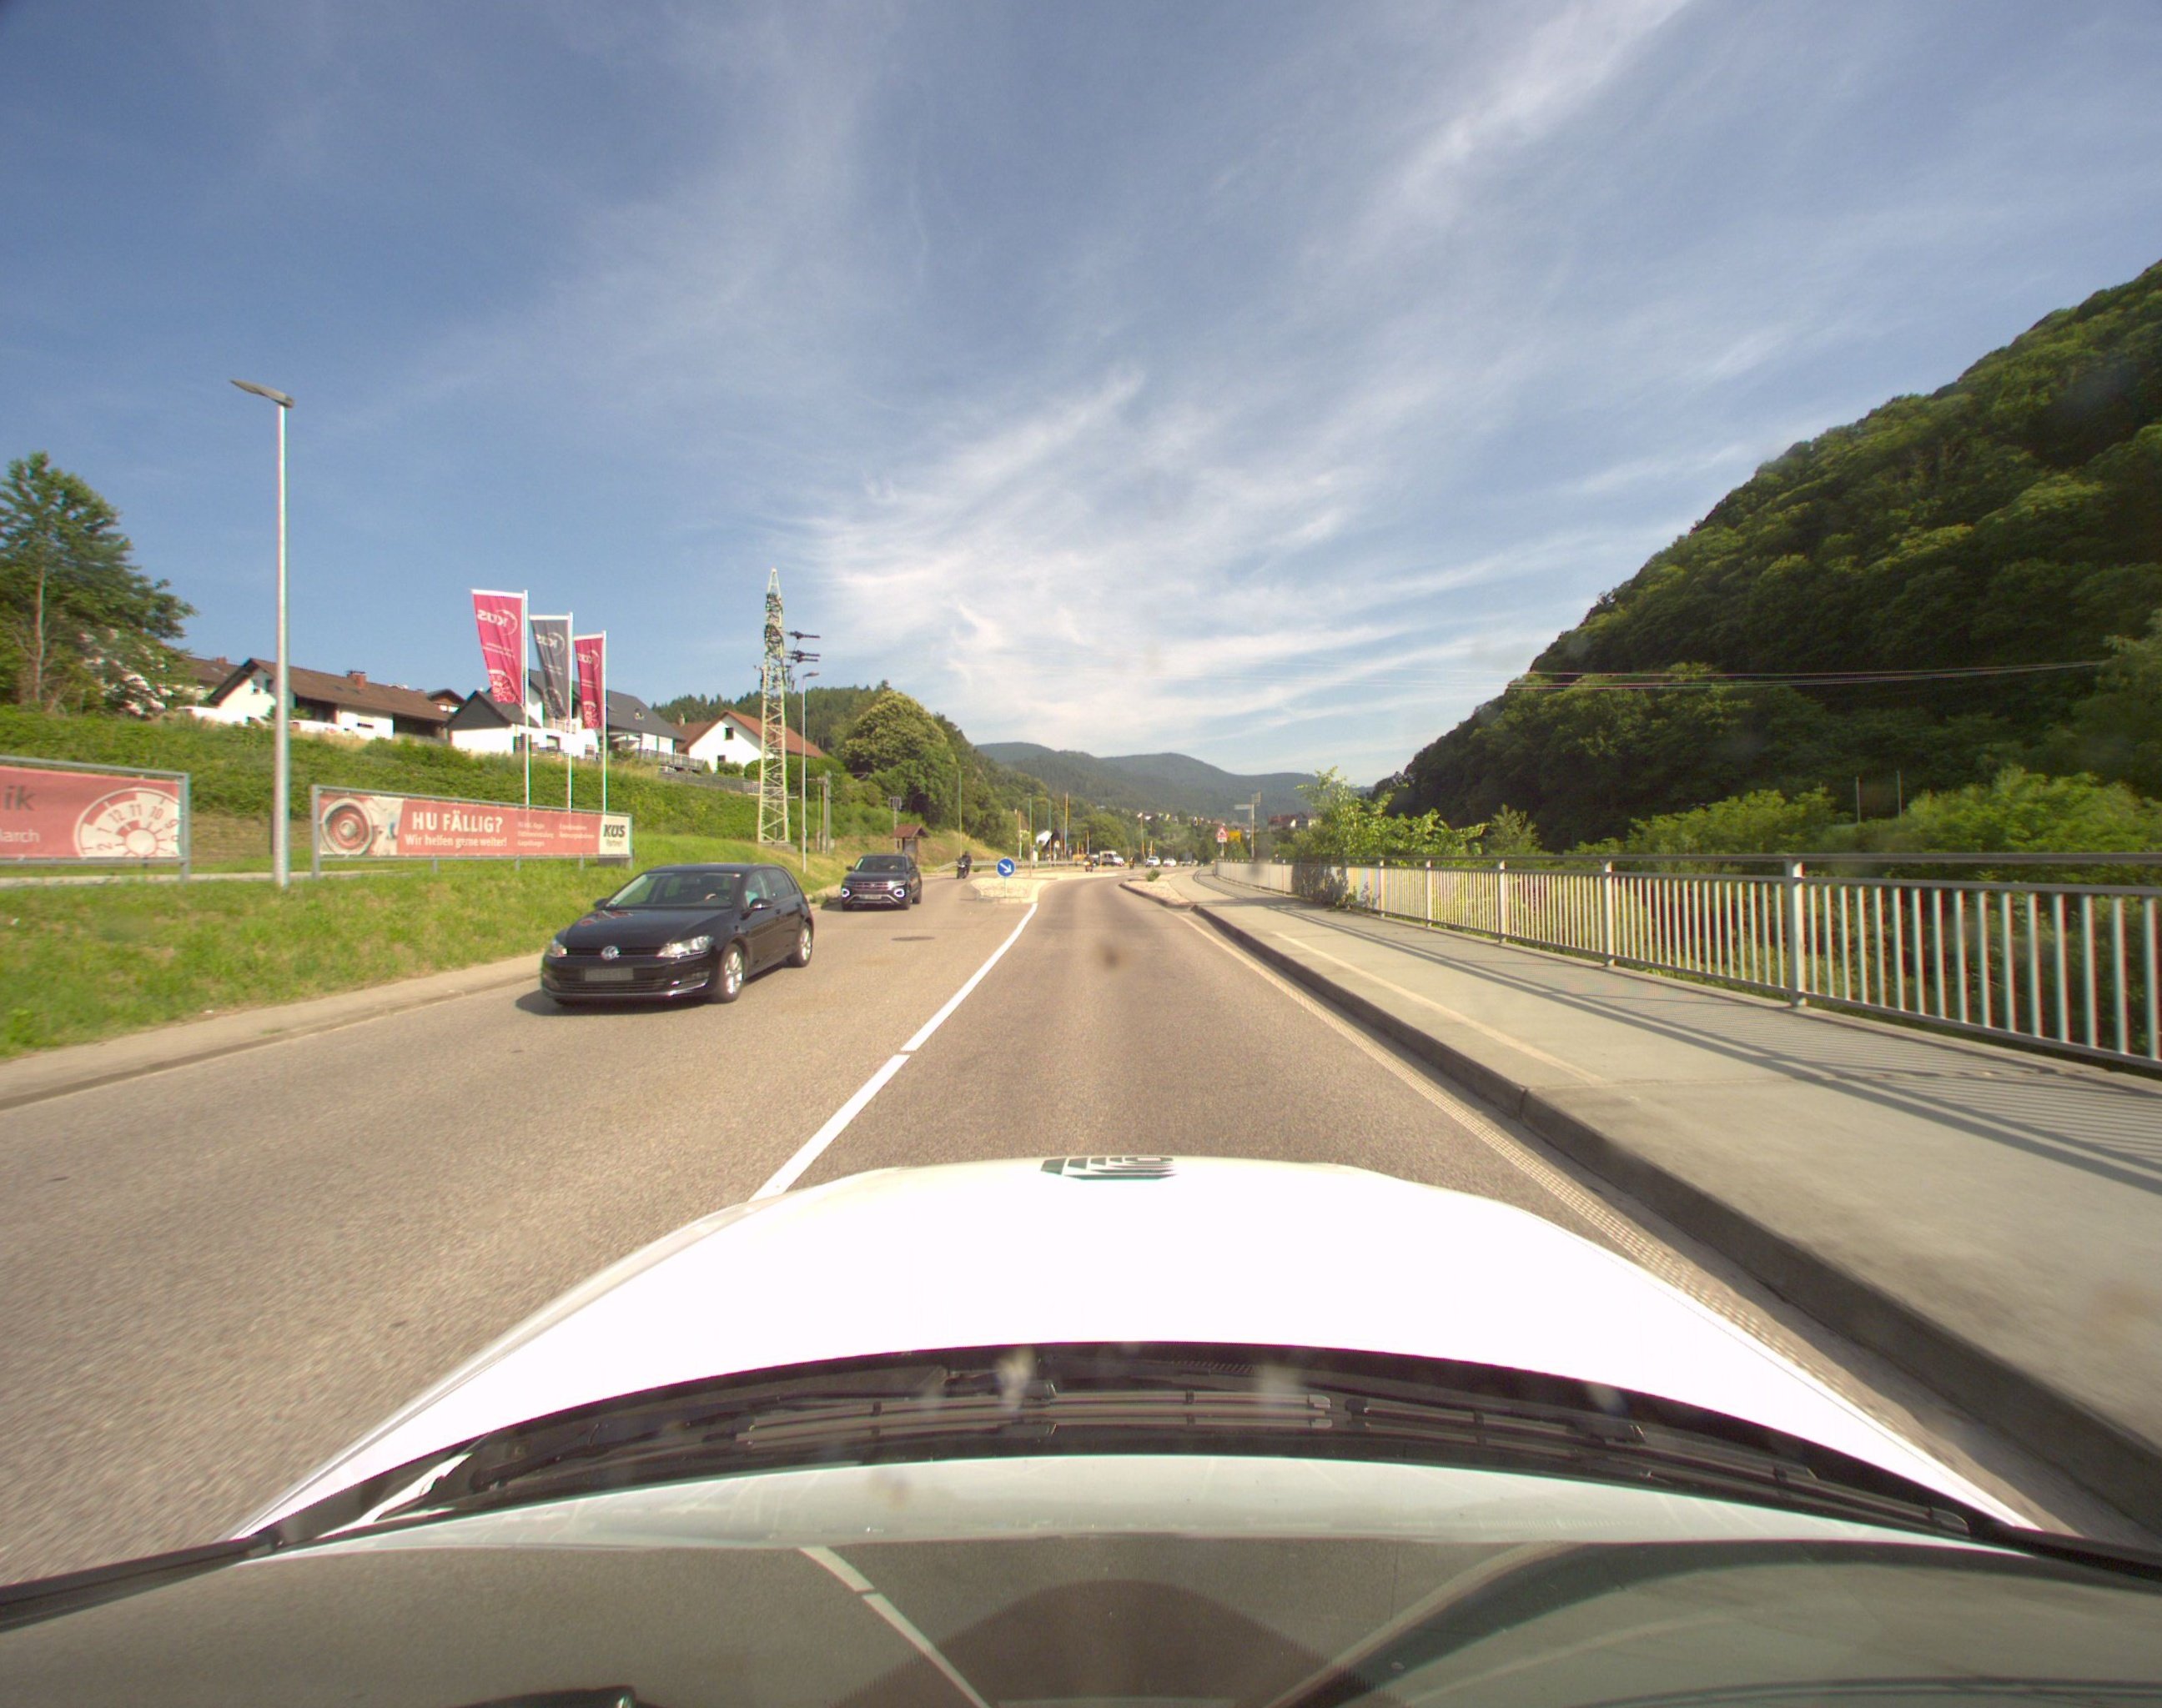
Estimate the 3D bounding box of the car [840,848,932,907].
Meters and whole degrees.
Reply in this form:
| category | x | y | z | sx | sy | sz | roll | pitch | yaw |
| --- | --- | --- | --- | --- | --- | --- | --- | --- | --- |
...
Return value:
| category | x | y | z | sx | sy | sz | roll | pitch | yaw |
| --- | --- | --- | --- | --- | --- | --- | --- | --- | --- |
| car | -5.456 | 0.587 | 23.290 | 1.771 | 1.516 | 4.268 | -1 | 0 | -3 |

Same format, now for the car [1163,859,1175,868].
| category | x | y | z | sx | sy | sz | roll | pitch | yaw |
| --- | --- | --- | --- | --- | --- | --- | --- | --- | --- |
| car | 15.114 | 1.651 | 139.833 | 1.771 | 1.400 | 4.839 | 1 | 0 | 9 |

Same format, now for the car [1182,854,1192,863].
| category | x | y | z | sx | sy | sz | roll | pitch | yaw |
| --- | --- | --- | --- | --- | --- | --- | --- | --- | --- |
| car | 22.410 | 1.038 | 172.311 | 1.746 | 1.522 | 4.217 | 0 | -5 | 13 |

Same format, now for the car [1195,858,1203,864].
| category | x | y | z | sx | sy | sz | roll | pitch | yaw |
| --- | --- | --- | --- | --- | --- | --- | --- | --- | --- |
| car | 29.787 | 1.758 | 205.681 | 1.761 | 1.416 | 3.797 | -2 | -1 | 12 |

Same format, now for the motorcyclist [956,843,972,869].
| category | x | y | z | sx | sy | sz | roll | pitch | yaw |
| --- | --- | --- | --- | --- | --- | --- | --- | --- | --- |
| motorcyclist | -6.925 | 0.134 | 48.328 | 0.905 | 1.519 | 0.844 | -1 | 0 | -10 |

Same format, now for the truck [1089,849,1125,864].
| category | x | y | z | sx | sy | sz | roll | pitch | yaw |
| --- | --- | --- | --- | --- | --- | --- | --- | --- | --- |
| truck | 4.136 | 0.445 | 131.017 | 2.011 | 2.266 | 5.930 | 0 | 1 | -44 |

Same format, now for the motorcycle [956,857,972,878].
| category | x | y | z | sx | sy | sz | roll | pitch | yaw |
| --- | --- | --- | --- | --- | --- | --- | --- | --- | --- |
| motorcycle | -6.937 | 0.773 | 48.272 | 0.894 | 1.183 | 2.298 | 0 | 1 | -10 |

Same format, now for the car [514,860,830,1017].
| category | x | y | z | sx | sy | sz | roll | pitch | yaw |
| --- | --- | --- | --- | --- | --- | --- | --- | --- | --- |
| car | -4.485 | 0.801 | 9.773 | 1.771 | 1.408 | 4.267 | -1 | 0 | -3 |

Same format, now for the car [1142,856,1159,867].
| category | x | y | z | sx | sy | sz | roll | pitch | yaw |
| --- | --- | --- | --- | --- | --- | --- | --- | --- | --- |
| car | 10.557 | 1.111 | 123.281 | 1.750 | 1.560 | 4.017 | -1 | 0 | 16 |
